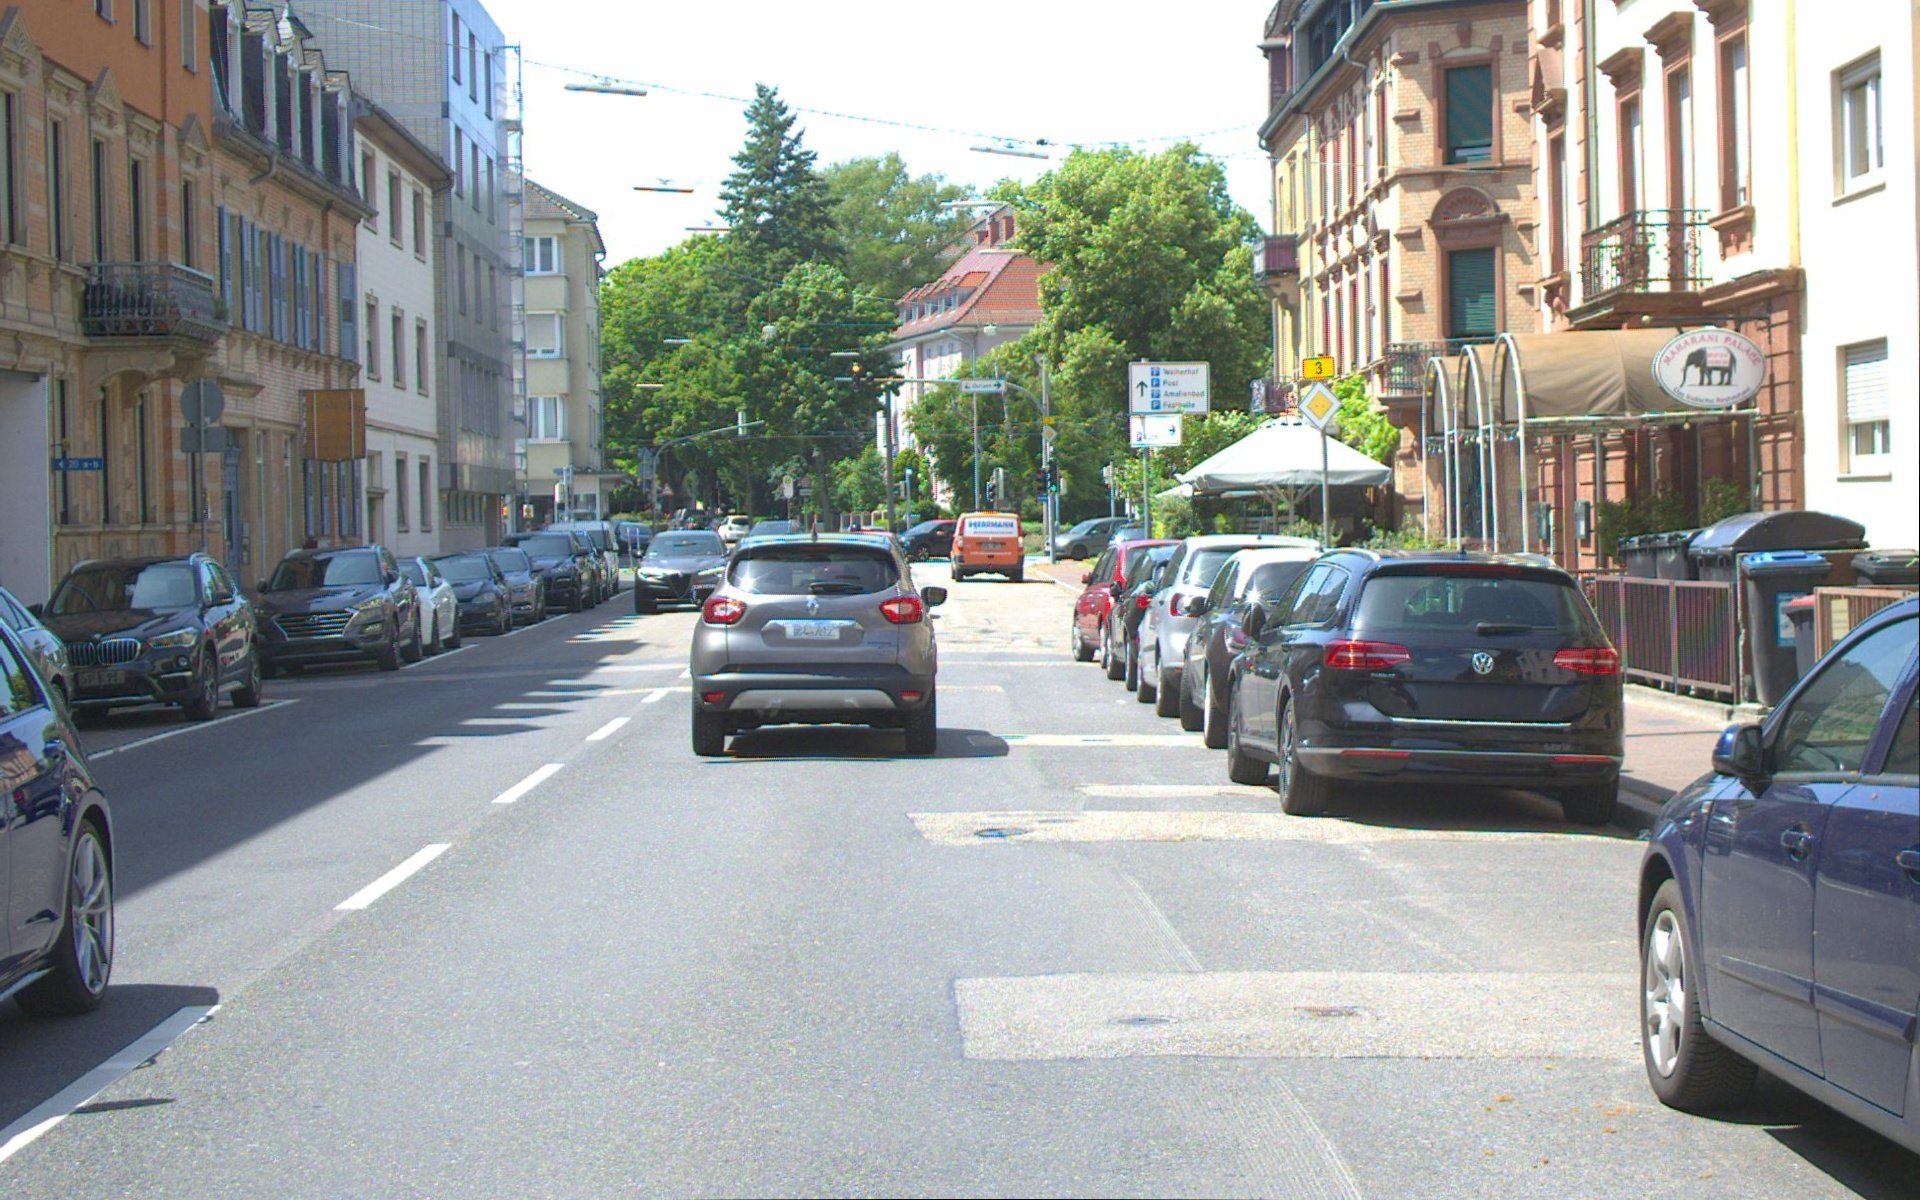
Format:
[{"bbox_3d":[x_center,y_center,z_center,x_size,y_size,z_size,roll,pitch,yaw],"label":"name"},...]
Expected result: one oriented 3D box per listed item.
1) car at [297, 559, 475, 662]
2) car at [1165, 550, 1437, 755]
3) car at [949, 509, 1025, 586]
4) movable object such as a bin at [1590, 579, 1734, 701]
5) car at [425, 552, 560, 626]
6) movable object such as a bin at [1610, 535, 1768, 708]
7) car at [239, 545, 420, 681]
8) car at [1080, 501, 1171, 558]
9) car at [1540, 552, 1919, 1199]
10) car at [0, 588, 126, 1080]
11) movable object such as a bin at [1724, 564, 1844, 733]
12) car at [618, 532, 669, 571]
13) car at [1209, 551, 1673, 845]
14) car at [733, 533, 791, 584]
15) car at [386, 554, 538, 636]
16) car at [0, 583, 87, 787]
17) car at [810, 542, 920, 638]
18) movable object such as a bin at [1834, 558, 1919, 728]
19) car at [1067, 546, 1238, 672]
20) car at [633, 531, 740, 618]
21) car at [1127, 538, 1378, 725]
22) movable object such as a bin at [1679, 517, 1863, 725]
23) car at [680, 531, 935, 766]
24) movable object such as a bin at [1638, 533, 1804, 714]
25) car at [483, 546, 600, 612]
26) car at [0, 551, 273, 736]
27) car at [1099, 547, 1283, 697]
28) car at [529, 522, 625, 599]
[{"bbox_3d":[-8.456,0.124,50.988,1.904,1.352,4.303,-3,1,-1],"label":"car"},{"bbox_3d":[2.570,0.350,26.710,1.660,1.436,4.000,0,1,-1],"label":"car"},{"bbox_3d":[0.750,-1.468,94.831,1.993,2.007,4.466,-2,1,1],"label":"car"},{"bbox_3d":[6.036,0.337,29.615,1.043,1.019,0.991,0,1,1],"label":"movable object such as a bin"},{"bbox_3d":[-8.746,-0.234,64.591,1.904,1.287,4.302,-1,1,0],"label":"car"},{"bbox_3d":[6.021,0.160,28.477,1.043,1.397,1.254,0,1,1],"label":"movable object such as a bin"},{"bbox_3d":[-8.268,0.135,45.395,1.904,1.614,4.303,-3,1,-5],"label":"car"},{"bbox_3d":[4.641,-1.964,95.900,1.899,1.503,3.941,-1,1,12],"label":"car"},{"bbox_3d":[2.673,0.654,7.971,1.695,1.482,4.619,1,1,-2],"label":"car"},{"bbox_3d":[-3.658,0.706,9.556,1.816,1.384,4.000,-2,1,-2],"label":"car"},{"bbox_3d":[5.848,0.334,24.446,0.638,1.173,0.911,0,1,1],"label":"movable object such as a bin"},{"bbox_3d":[-13.475,-2.071,146.394,1.790,1.620,3.743,-1,1,1],"label":"car"},{"bbox_3d":[2.637,0.472,19.937,1.860,1.460,4.619,1,1,-2],"label":"car"},{"bbox_3d":[-6.469,-1.366,112.003,1.790,1.620,3.744,-1,1,-4],"label":"car"},{"bbox_3d":[-8.530,-0.111,59.185,1.905,1.287,4.302,-1,1,1],"label":"car"},{"bbox_3d":[-7.710,0.656,24.338,1.904,1.396,4.755,-3,1,-2],"label":"car"},{"bbox_3d":[-1.773,-0.207,62.971,1.812,1.615,4.442,-2,1,-3],"label":"car"},{"bbox_3d":[6.660,0.298,24.504,0.638,1.182,0.852,0,1,1],"label":"movable object such as a bin"},{"bbox_3d":[2.271,0.072,41.271,1.611,1.438,3.437,0,1,-4],"label":"car"},{"bbox_3d":[-5.488,-0.534,69.385,1.939,1.620,4.001,-2,1,-2],"label":"car"},{"bbox_3d":[2.556,0.231,30.936,1.860,1.548,4.000,1,1,-1],"label":"car"},{"bbox_3d":[6.080,0.138,25.848,1.043,1.513,1.446,0,1,1],"label":"movable object such as a bin"},{"bbox_3d":[-1.113,0.295,25.684,1.744,1.611,4.001,0,1,-2],"label":"car"},{"bbox_3d":[6.010,0.172,27.220,1.043,1.397,1.254,0,1,1],"label":"movable object such as a bin"},{"bbox_3d":[-8.657,-0.457,71.478,1.904,1.287,4.303,-1,1,0],"label":"car"},{"bbox_3d":[-8.110,0.371,33.867,1.904,1.614,4.303,-3,1,-2],"label":"car"},{"bbox_3d":[2.344,0.188,35.563,1.611,1.456,3.505,0,1,-1],"label":"car"},{"bbox_3d":[-9.490,-1.003,85.463,1.904,1.815,4.303,-1,1,0],"label":"car"}]
